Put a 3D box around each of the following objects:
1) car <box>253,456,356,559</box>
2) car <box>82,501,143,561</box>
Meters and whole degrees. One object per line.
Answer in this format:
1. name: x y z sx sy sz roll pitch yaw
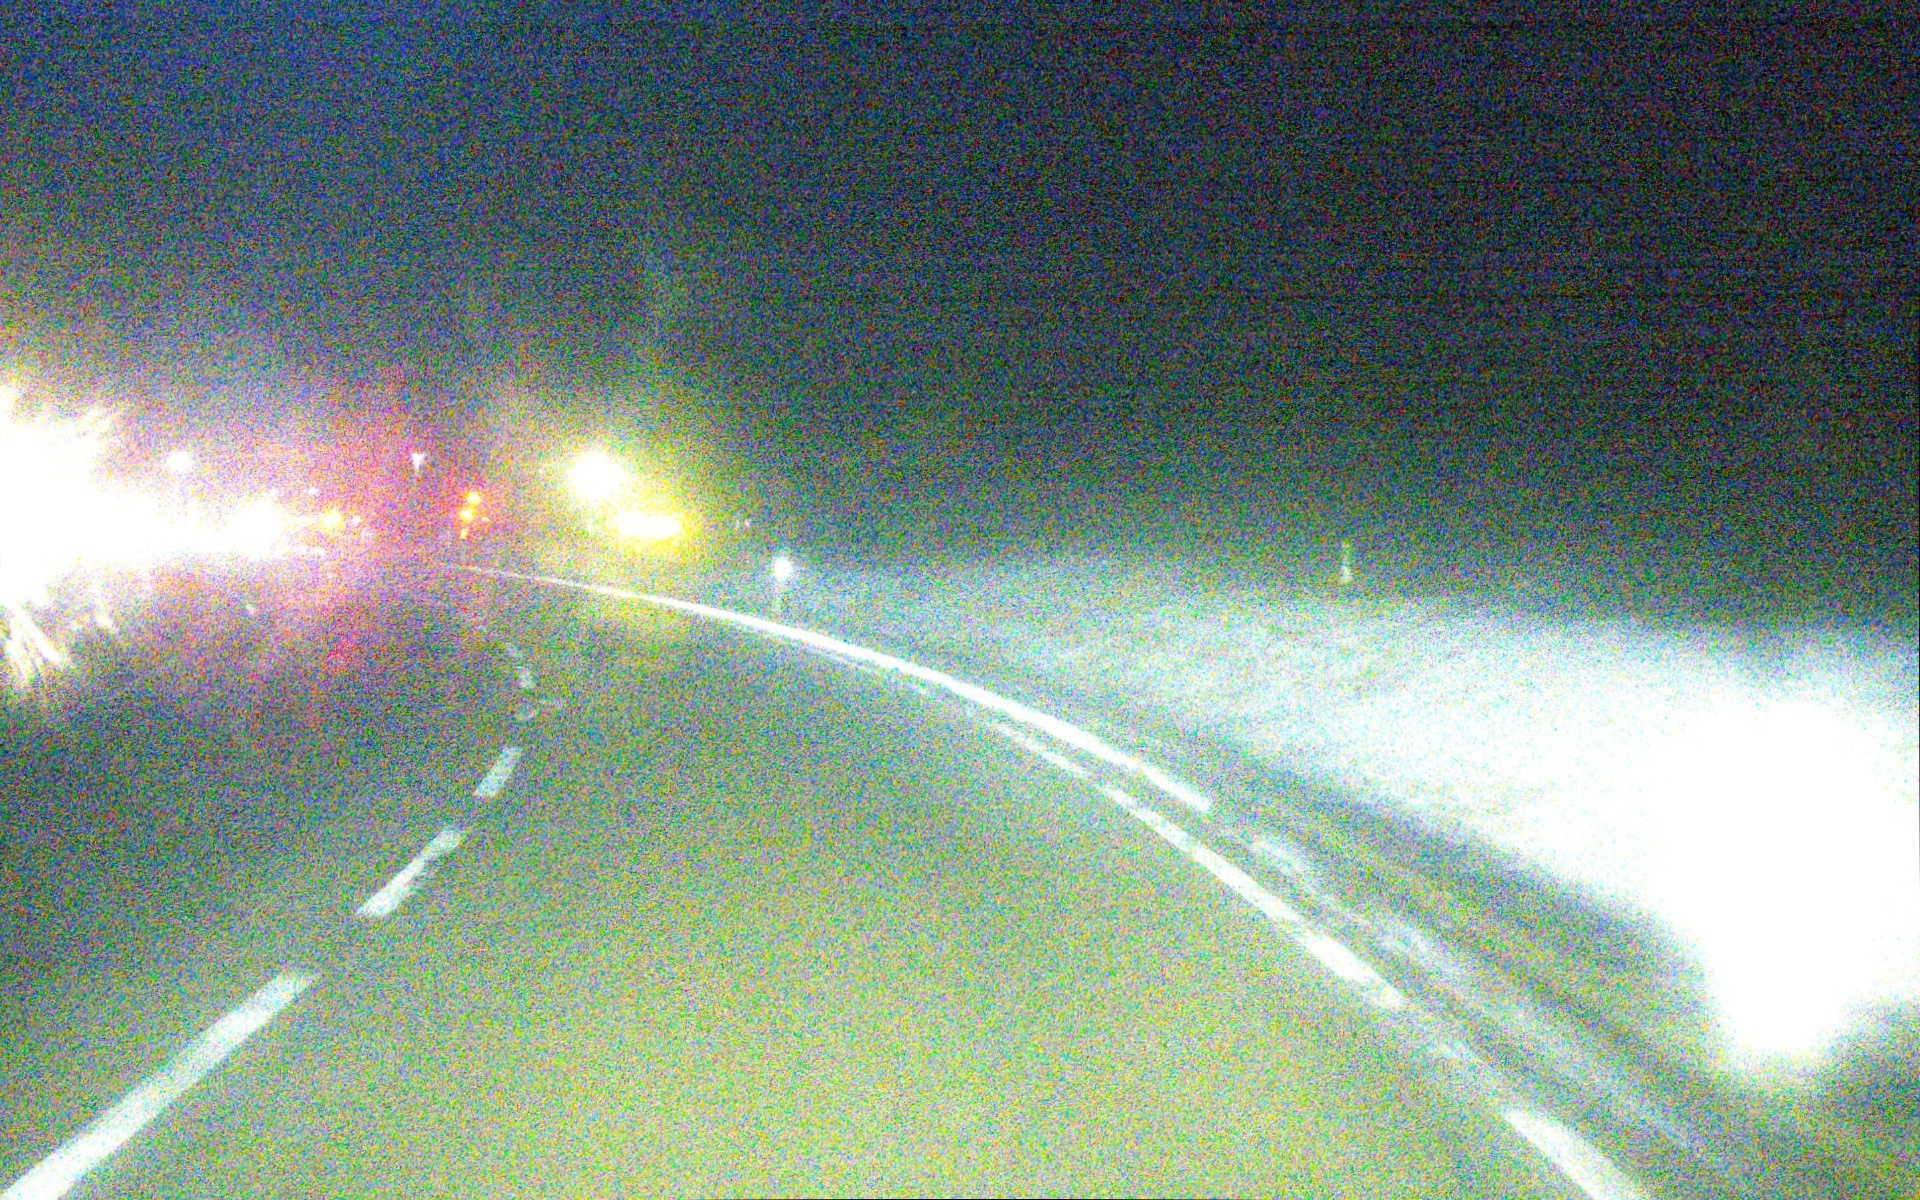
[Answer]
1. car: -18.300 -2.614 95.769 2.538 2.489 5.718 1 5 -13
2. car: -29.563 -2.383 119.964 1.993 2.007 4.001 1 1 -14
